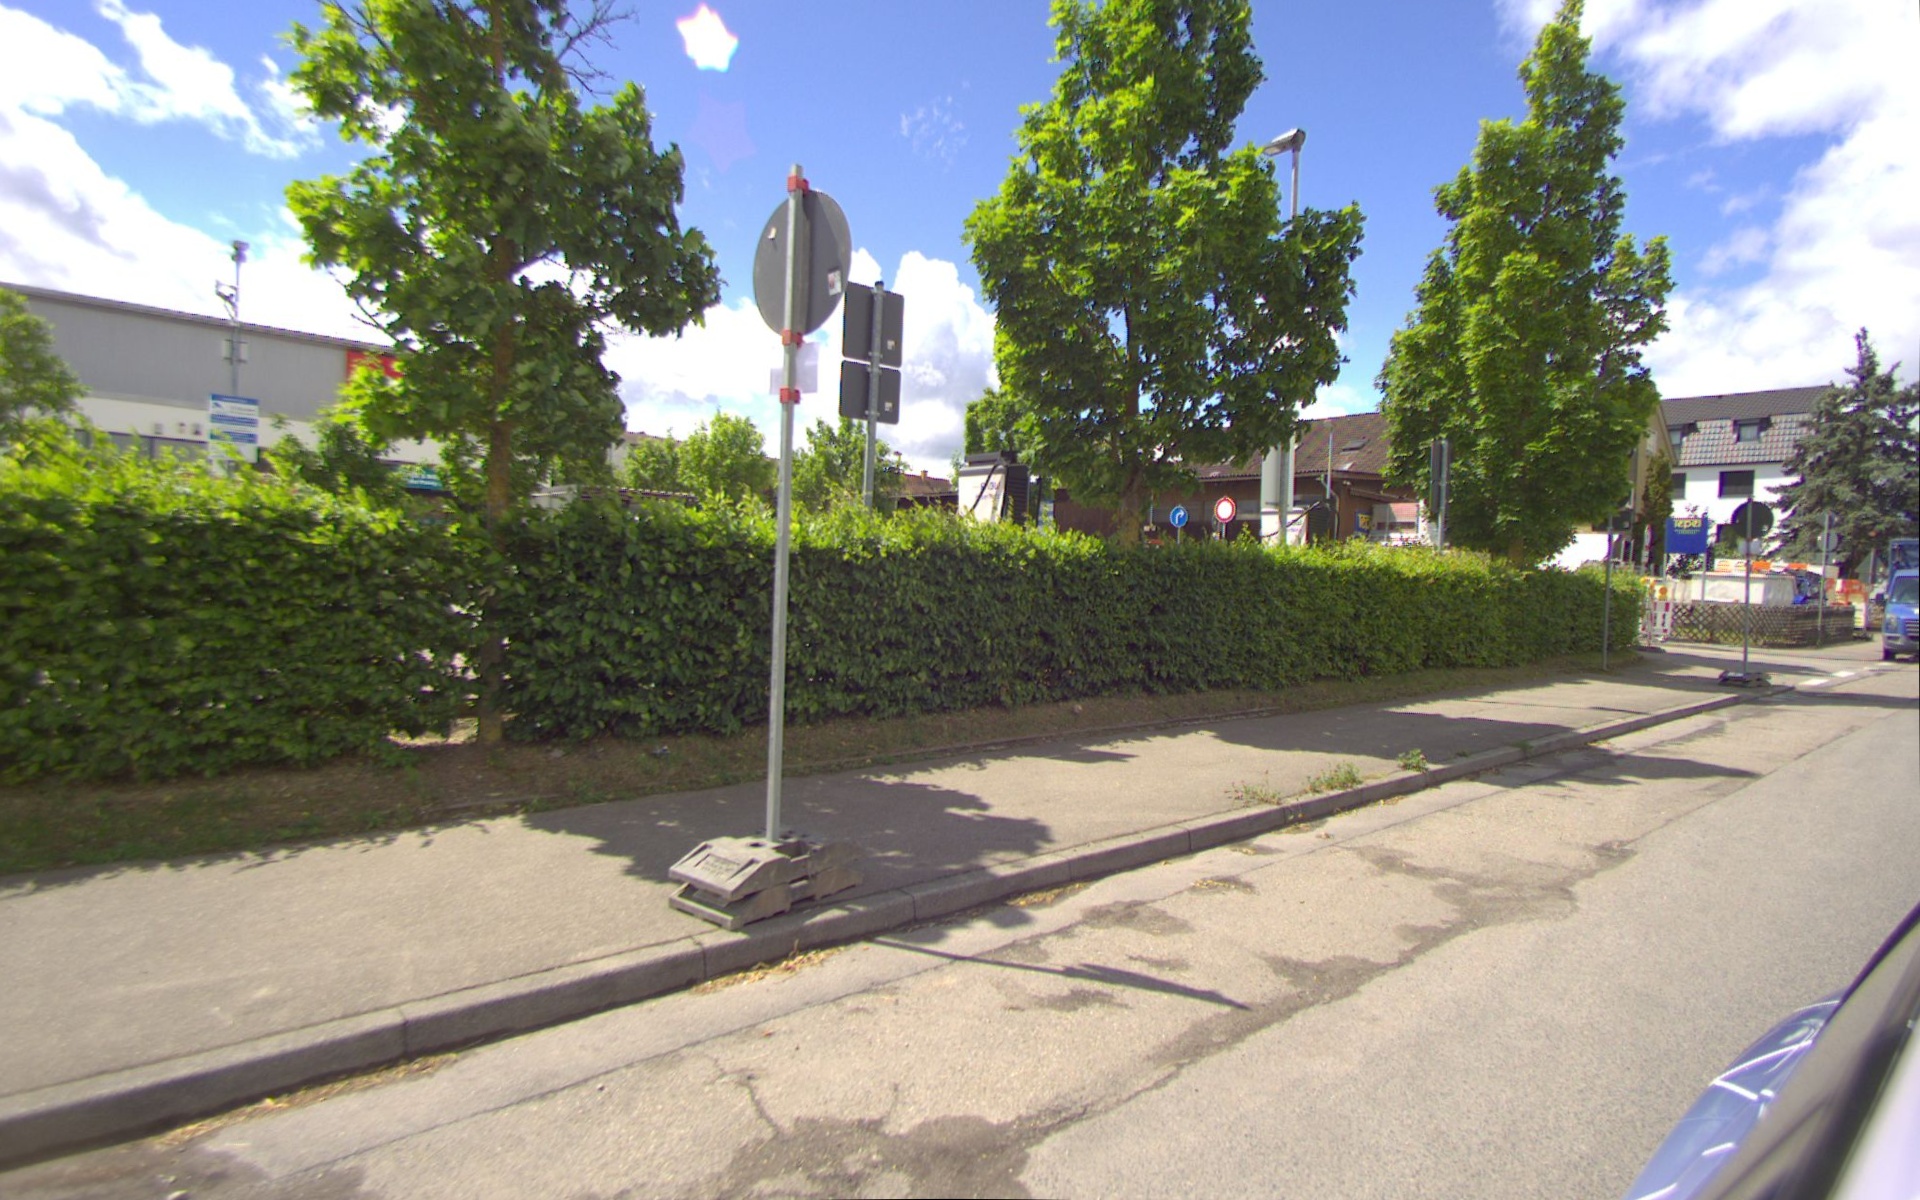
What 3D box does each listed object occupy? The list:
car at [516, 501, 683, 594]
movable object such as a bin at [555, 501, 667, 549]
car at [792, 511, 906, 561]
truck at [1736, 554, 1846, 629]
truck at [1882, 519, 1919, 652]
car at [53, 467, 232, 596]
[{"bbox_3d":[-7.728,-1.023,21.504,1.966,1.727,3.992,1,-1,-42],"label":"car"},{"bbox_3d":[-24.609,-5.212,71.471,6.578,2.797,3.937,1,-1,-41],"label":"movable object such as a bin"},{"bbox_3d":[-4.118,-2.346,37.903,3.927,1.605,1.750,1,-1,-38],"label":"car"},{"bbox_3d":[27.119,-0.245,32.965,5.291,2.107,1.833,2,3,-42],"label":"truck"},{"bbox_3d":[25.282,-0.322,25.498,5.935,3.136,2.325,1,0,-41],"label":"truck"},{"bbox_3d":[-12.967,-0.938,15.972,1.966,1.727,3.992,1,-1,-42],"label":"car"}]
